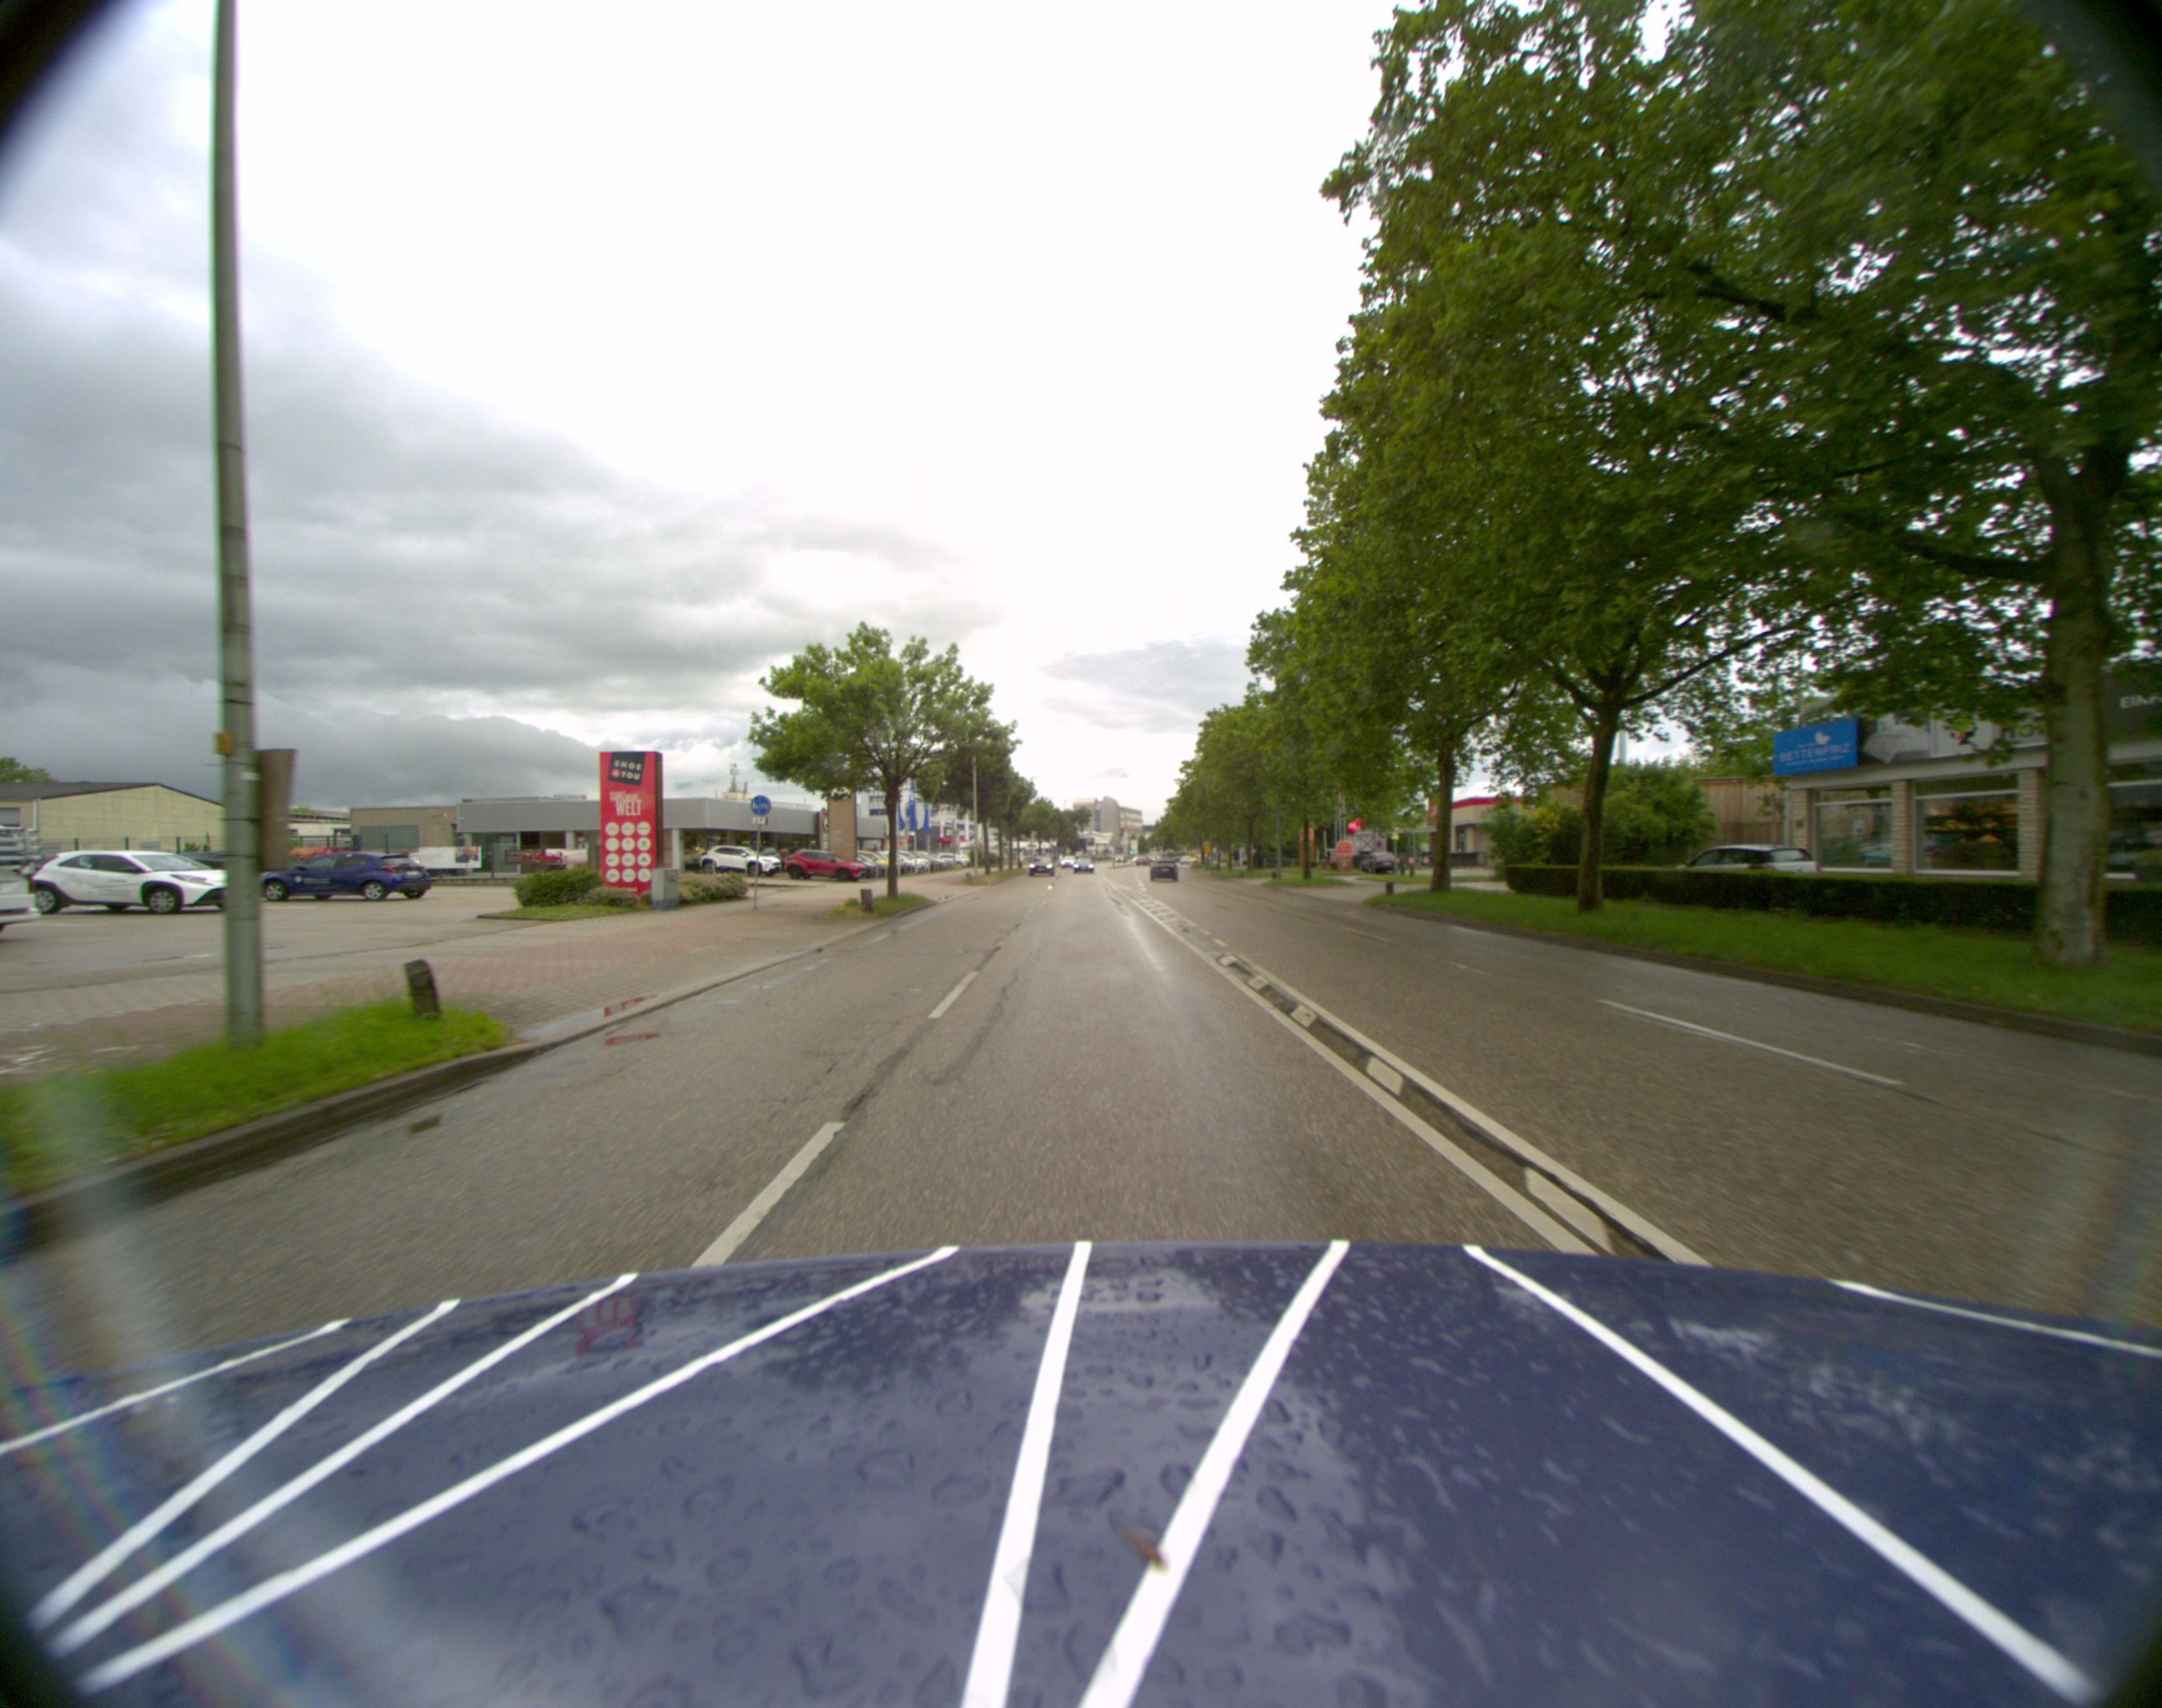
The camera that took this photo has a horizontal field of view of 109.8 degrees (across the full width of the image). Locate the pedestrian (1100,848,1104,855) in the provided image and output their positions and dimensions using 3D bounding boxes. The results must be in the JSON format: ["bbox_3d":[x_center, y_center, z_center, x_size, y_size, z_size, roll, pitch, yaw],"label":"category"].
[{"bbox_3d":[5.081,-0.624,186.429,0.700,1.701,0.698,1,0,18],"label":"pedestrian"}]

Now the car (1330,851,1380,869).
[{"bbox_3d":[19.985,0.416,55.536,3.181,1.148,1.291,-3,0,9],"label":"car"}]

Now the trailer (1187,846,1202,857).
[{"bbox_3d":[27.678,-0.516,184.743,2.306,2.459,7.983,-2,-1,17],"label":"trailer"}]

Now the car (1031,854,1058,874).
[{"bbox_3d":[-2.890,0.786,61.002,1.900,1.544,4.591,0,0,-1],"label":"car"}]

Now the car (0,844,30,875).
[{"bbox_3d":[-72.277,0.378,49.531,4.102,2.002,1.788,0,1,-20],"label":"car"}]

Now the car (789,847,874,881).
[{"bbox_3d":[-13.158,0.521,40.259,3.850,1.594,1.795,3,1,2],"label":"car"}]

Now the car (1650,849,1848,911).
[{"bbox_3d":[17.644,0.627,20.357,1.828,1.477,3.939,0,0,0],"label":"car"}]

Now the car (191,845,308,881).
[{"bbox_3d":[-40.122,0.440,36.745,3.661,1.634,1.788,-1,0,0],"label":"car"}]

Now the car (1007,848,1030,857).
[{"bbox_3d":[-14.164,-0.335,171.203,4.776,2.002,2.003,0,0,19],"label":"car"}]

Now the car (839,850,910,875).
[{"bbox_3d":[-13.055,0.518,48.163,3.996,1.530,1.800,1,0,1],"label":"car"}]

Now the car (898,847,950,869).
[{"bbox_3d":[-13.700,0.325,66.492,3.996,1.575,1.812,4,1,4],"label":"car"}]

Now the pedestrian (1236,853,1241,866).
[{"bbox_3d":[20.754,0.754,100.089,0.513,1.673,0.540,1,1,3],"label":"pedestrian"}]

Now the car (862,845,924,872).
[{"bbox_3d":[-13.768,0.320,55.771,3.996,1.776,1.812,2,1,4],"label":"car"}]

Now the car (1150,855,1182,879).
[{"bbox_3d":[5.532,0.838,49.822,1.808,1.454,3.846,1,0,2],"label":"car"}]

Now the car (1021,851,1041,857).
[{"bbox_3d":[-11.791,0.105,180.217,4.365,1.385,1.826,0,0,17],"label":"car"}]

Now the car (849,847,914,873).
[{"bbox_3d":[-13.961,0.428,53.282,3.996,1.538,1.711,3,1,4],"label":"car"}]

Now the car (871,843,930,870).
[{"bbox_3d":[-14.033,0.223,59.204,3.995,1.776,1.813,4,0,4],"label":"car"}]

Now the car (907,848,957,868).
[{"bbox_3d":[-13.492,0.379,68.914,3.996,1.534,1.812,4,1,4],"label":"car"}]

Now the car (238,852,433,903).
[{"bbox_3d":[-22.642,0.684,23.206,3.999,1.506,1.758,0,0,-6],"label":"car"}]

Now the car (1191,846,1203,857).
[{"bbox_3d":[28.847,-0.601,188.751,2.242,2.459,5.022,-2,-1,17],"label":"car"}]

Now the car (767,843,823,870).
[{"bbox_3d":[-18.348,0.175,48.932,1.879,1.612,4.123,2,0,2],"label":"car"}]

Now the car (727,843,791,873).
[{"bbox_3d":[-18.837,0.221,44.653,1.879,1.612,4.123,2,0,2],"label":"car"}]

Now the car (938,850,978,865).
[{"bbox_3d":[-13.897,0.348,85.839,4.058,1.588,1.988,1,1,22],"label":"car"}]

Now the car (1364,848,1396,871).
[{"bbox_3d":[20.807,0.355,52.918,1.436,1.419,3.192,-1,3,9],"label":"car"}]

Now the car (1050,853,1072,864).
[{"bbox_3d":[-2.975,0.666,112.935,1.897,1.544,4.007,1,0,22],"label":"car"}]

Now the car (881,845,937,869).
[{"bbox_3d":[-13.920,0.232,61.577,3.997,1.578,1.812,5,0,0],"label":"car"}]

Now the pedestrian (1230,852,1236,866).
[{"bbox_3d":[20.051,0.677,100.329,0.665,1.756,0.584,-1,1,25],"label":"pedestrian"}]

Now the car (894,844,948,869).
[{"bbox_3d":[-13.407,0.192,63.800,3.996,1.776,1.812,4,1,4],"label":"car"}]

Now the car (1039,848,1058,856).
[{"bbox_3d":[-8.198,-0.532,193.174,4.365,1.895,1.899,0,1,17],"label":"car"}]

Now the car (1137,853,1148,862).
[{"bbox_3d":[10.844,0.640,133.433,1.815,1.553,4.600,0,1,7],"label":"car"}]

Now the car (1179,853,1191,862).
[{"bbox_3d":[20.048,0.723,147.024,1.932,1.610,4.399,0,1,3],"label":"car"}]

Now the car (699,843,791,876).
[{"bbox_3d":[-18.036,0.276,40.885,4.117,1.612,1.881,2,0,5],"label":"car"}]

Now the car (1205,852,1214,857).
[{"bbox_3d":[39.026,0.073,230.958,1.784,1.396,4.007,1,0,24],"label":"car"}]

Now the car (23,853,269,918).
[{"bbox_3d":[-22.908,0.727,18.757,3.650,1.506,1.675,0,0,-8],"label":"car"}]

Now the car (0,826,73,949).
[{"bbox_3d":[-20.017,0.541,12.031,4.837,2.002,1.988,0,1,-8],"label":"car"}]

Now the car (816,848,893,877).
[{"bbox_3d":[-13.539,0.510,45.565,3.995,1.638,1.845,1,1,6],"label":"car"}]

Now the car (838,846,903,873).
[{"bbox_3d":[-14.014,0.355,50.703,3.849,1.557,1.666,4,1,-1],"label":"car"}]

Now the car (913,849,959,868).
[{"bbox_3d":[-13.581,0.407,71.261,3.842,1.453,1.828,4,0,1],"label":"car"}]

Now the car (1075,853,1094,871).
[{"bbox_3d":[0.356,0.772,72.161,1.800,1.623,4.551,1,0,1],"label":"car"}]

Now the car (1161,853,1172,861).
[{"bbox_3d":[16.376,0.511,144.750,1.997,1.499,4.733,1,0,8],"label":"car"}]
